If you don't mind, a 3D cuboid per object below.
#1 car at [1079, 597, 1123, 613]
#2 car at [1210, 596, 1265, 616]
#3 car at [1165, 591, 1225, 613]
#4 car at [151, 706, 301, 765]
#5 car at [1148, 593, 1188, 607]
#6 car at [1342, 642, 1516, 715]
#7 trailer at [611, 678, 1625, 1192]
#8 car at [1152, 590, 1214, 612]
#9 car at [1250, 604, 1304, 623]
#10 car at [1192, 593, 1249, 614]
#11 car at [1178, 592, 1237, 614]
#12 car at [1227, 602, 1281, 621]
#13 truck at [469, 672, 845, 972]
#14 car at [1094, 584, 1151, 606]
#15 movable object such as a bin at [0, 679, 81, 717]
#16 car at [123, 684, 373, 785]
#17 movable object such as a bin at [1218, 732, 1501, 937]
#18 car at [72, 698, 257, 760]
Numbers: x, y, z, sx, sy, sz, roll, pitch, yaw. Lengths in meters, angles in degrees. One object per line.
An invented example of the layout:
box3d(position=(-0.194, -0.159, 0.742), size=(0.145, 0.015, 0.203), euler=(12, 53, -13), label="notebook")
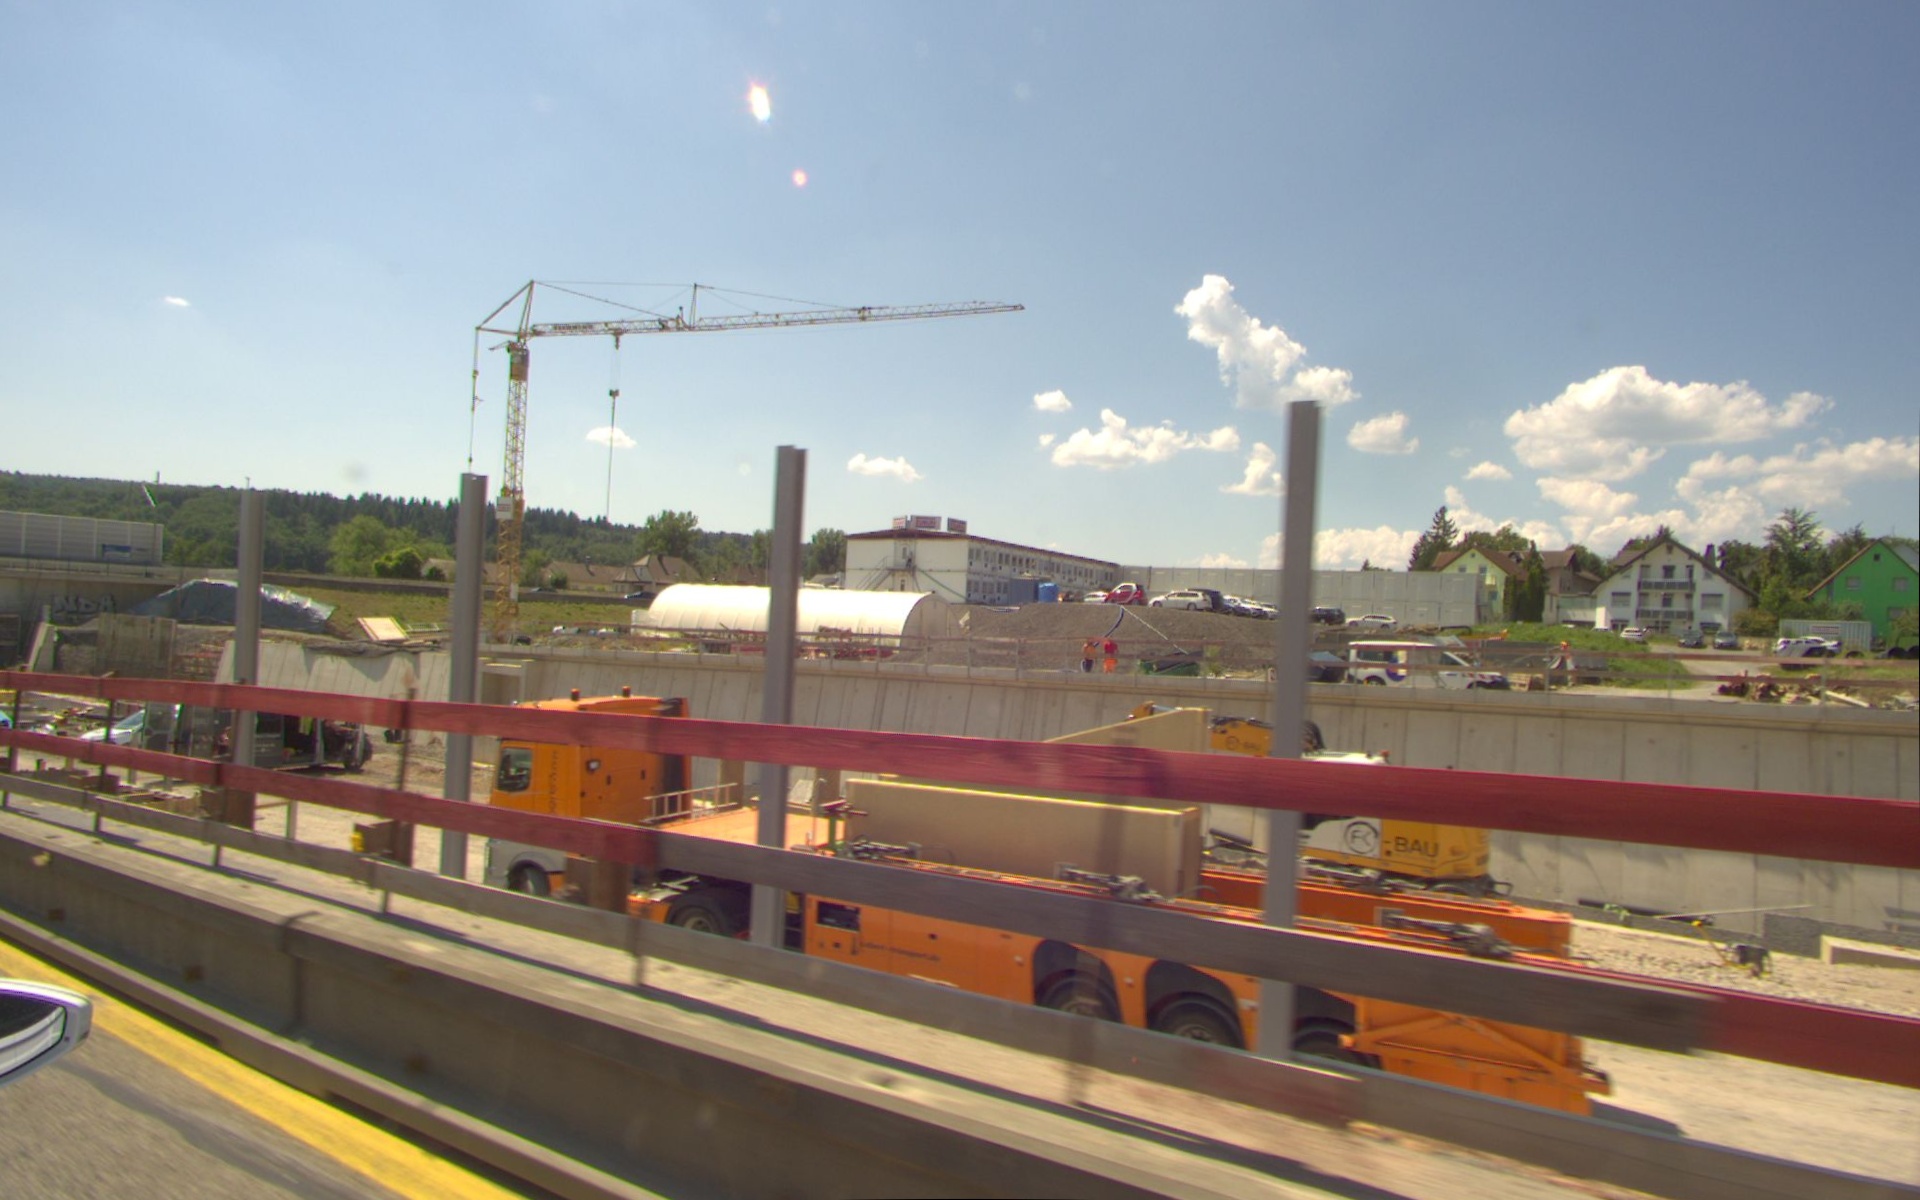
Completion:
box3d(position=(11.889, 0.420, 84.532), size=(3.378, 1.297, 1.513), euler=(0, -2, 31), label="car")
box3d(position=(22.224, 0.482, 80.215), size=(4.014, 1.537, 1.712), euler=(0, -2, 31), label="car")
box3d(position=(17.360, 0.165, 74.122), size=(4.014, 1.537, 1.679), euler=(0, -2, 31), label="car")
box3d(position=(-25.305, 4.625, 34.647), size=(1.738, 1.689, 3.763), euler=(2, -3, 25), label="car")
box3d(position=(19.360, 0.025, 93.274), size=(3.378, 1.297, 1.513), euler=(0, -2, 31), label="car")
box3d(position=(14.487, 2.354, 31.054), size=(4.750, 2.039, 1.805), euler=(0, -2, 28), label="car")
box3d(position=(0.943, 3.276, 13.214), size=(12.853, 3.936, 2.756), euler=(0, -2, 30), label="trailer")
box3d(position=(16.014, 0.087, 71.917), size=(4.014, 1.537, 1.679), euler=(0, -2, 31), label="car")
box3d(position=(26.566, 1.135, 83.908), size=(4.014, 1.537, 1.679), euler=(0, -2, 31), label="car")
box3d(position=(20.331, 0.301, 78.253), size=(4.014, 1.537, 1.706), euler=(0, -2, 31), label="car")
box3d(position=(18.828, 0.237, 76.220), size=(4.014, 1.537, 1.679), euler=(0, -2, 31), label="car")
box3d(position=(24.160, 0.950, 82.260), size=(4.014, 1.537, 1.679), euler=(0, -2, 31), label="car")
box3d(position=(-5.089, 3.299, 16.699), size=(5.793, 3.936, 2.756), euler=(0, -2, 30), label="truck")
box3d(position=(10.692, -0.310, 65.985), size=(3.378, 1.333, 1.513), euler=(0, -2, 31), label="car")
box3d(position=(-41.996, 4.414, 45.239), size=(3.059, 1.583, 1.547), euler=(2, -2, -26), label="movable object such as a bin")
box3d(position=(-22.521, 4.153, 32.112), size=(2.484, 2.617, 6.102), euler=(2, -2, 19), label="car")
box3d(position=(7.620, 4.247, 19.140), size=(4.749, 3.061, 2.279), euler=(-1, -4, 31), label="movable object such as a bin")
box3d(position=(-28.290, 4.529, 35.795), size=(1.970, 1.795, 4.726), euler=(2, -3, 30), label="car")
